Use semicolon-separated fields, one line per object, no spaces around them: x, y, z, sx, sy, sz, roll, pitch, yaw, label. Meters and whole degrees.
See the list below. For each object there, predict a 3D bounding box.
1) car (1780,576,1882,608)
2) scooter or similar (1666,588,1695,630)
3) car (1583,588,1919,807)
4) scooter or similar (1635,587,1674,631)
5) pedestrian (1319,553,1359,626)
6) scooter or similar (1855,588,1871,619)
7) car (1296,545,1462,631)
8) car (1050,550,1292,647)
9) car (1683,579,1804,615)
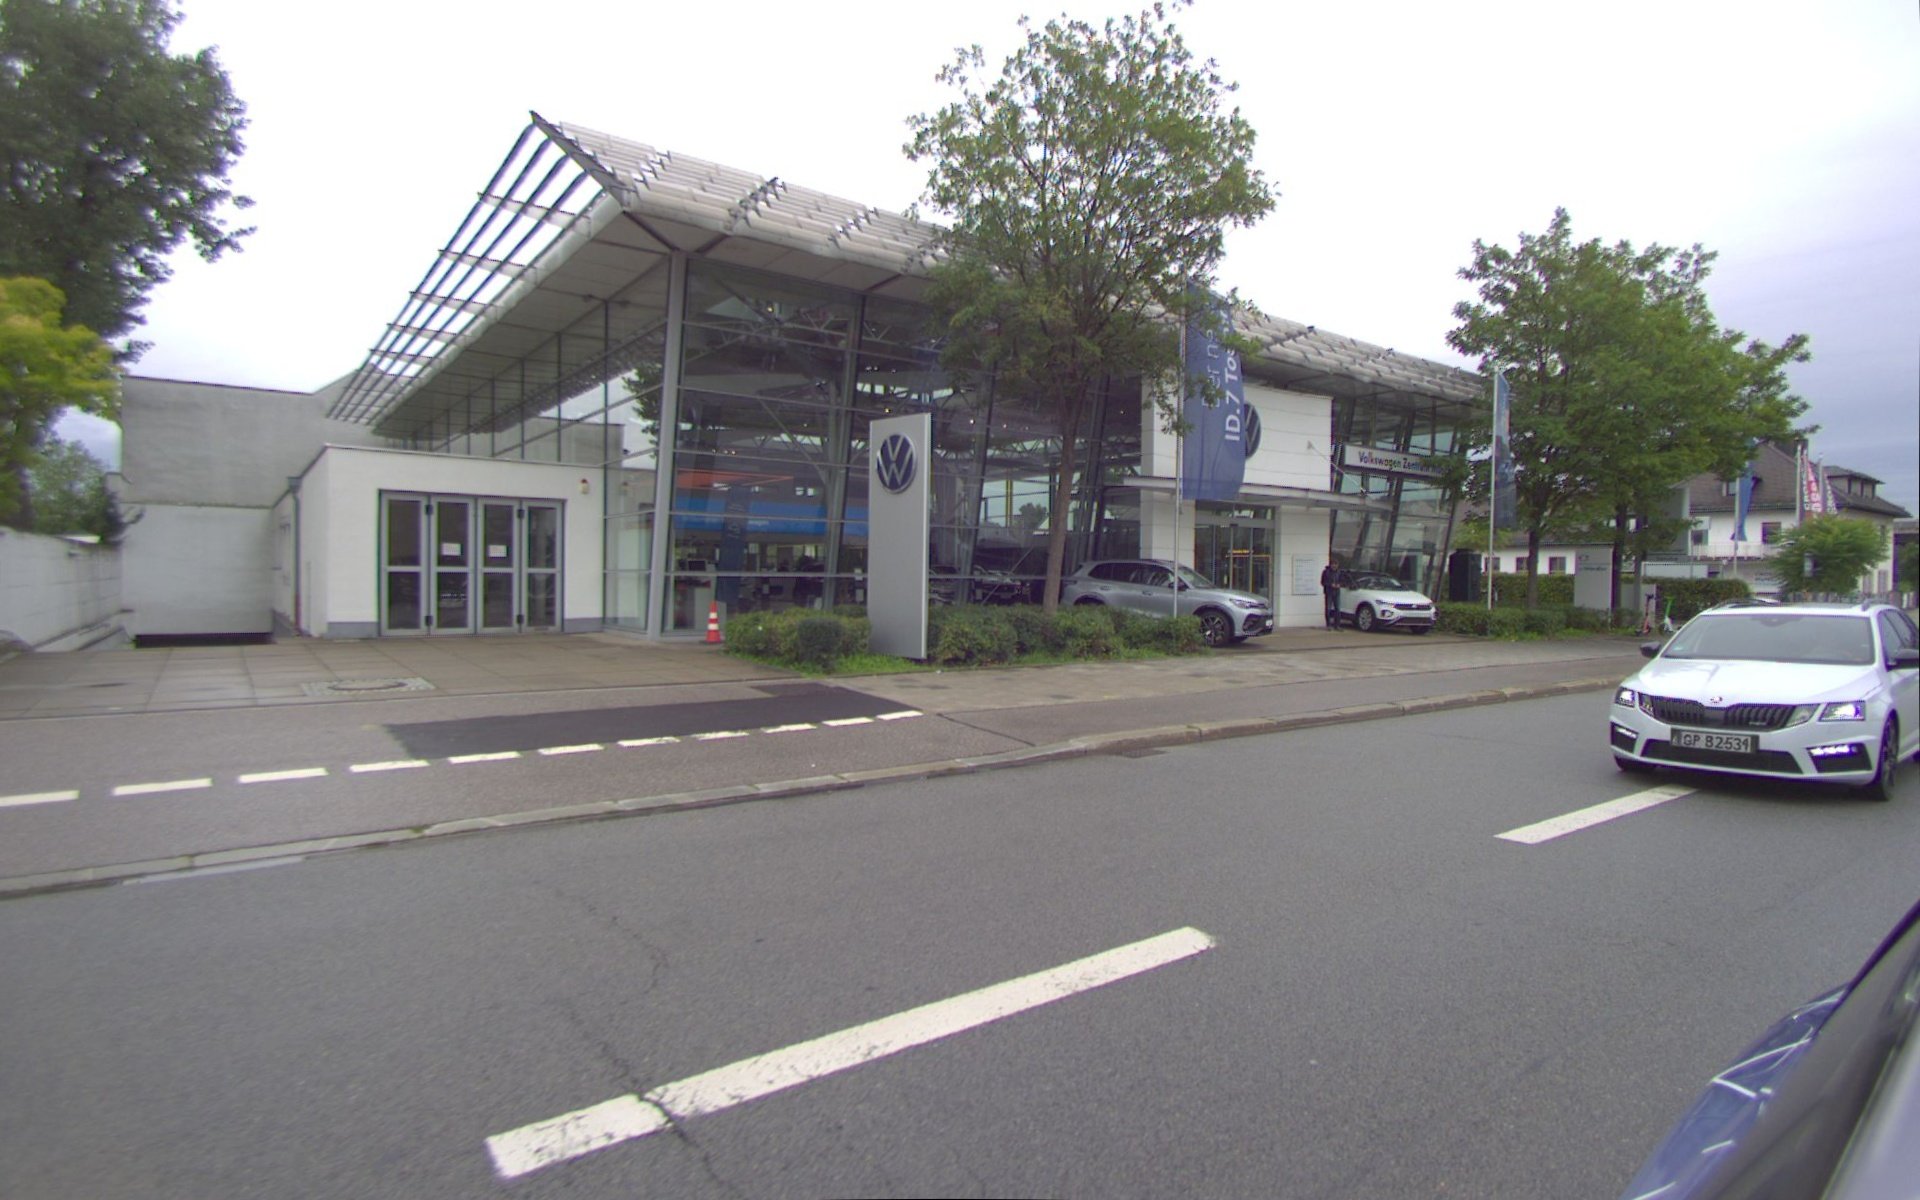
49.124;-0.470;57.146;1.892;1.747;4.107;0;2;-38;car
22.253;0.268;31.247;0.496;1.219;1.408;5;5;43;scooter or similar
7.418;0.658;8.925;4.474;1.466;1.914;0;0;-39;car
20.505;0.258;29.875;1.404;1.219;0.497;1;4;-40;scooter or similar
9.568;-0.266;25.566;0.793;1.798;0.715;1;1;9;pedestrian
38.885;0.135;43.580;0.396;1.237;1.617;4;5;39;scooter or similar
11.015;-0.399;27.006;1.922;2.038;4.272;0;3;-13;car
4.400;-0.130;21.353;4.571;1.727;1.985;3;4;33;car
35.440;-0.169;45.868;1.760;1.478;4.026;0;2;-36;car
